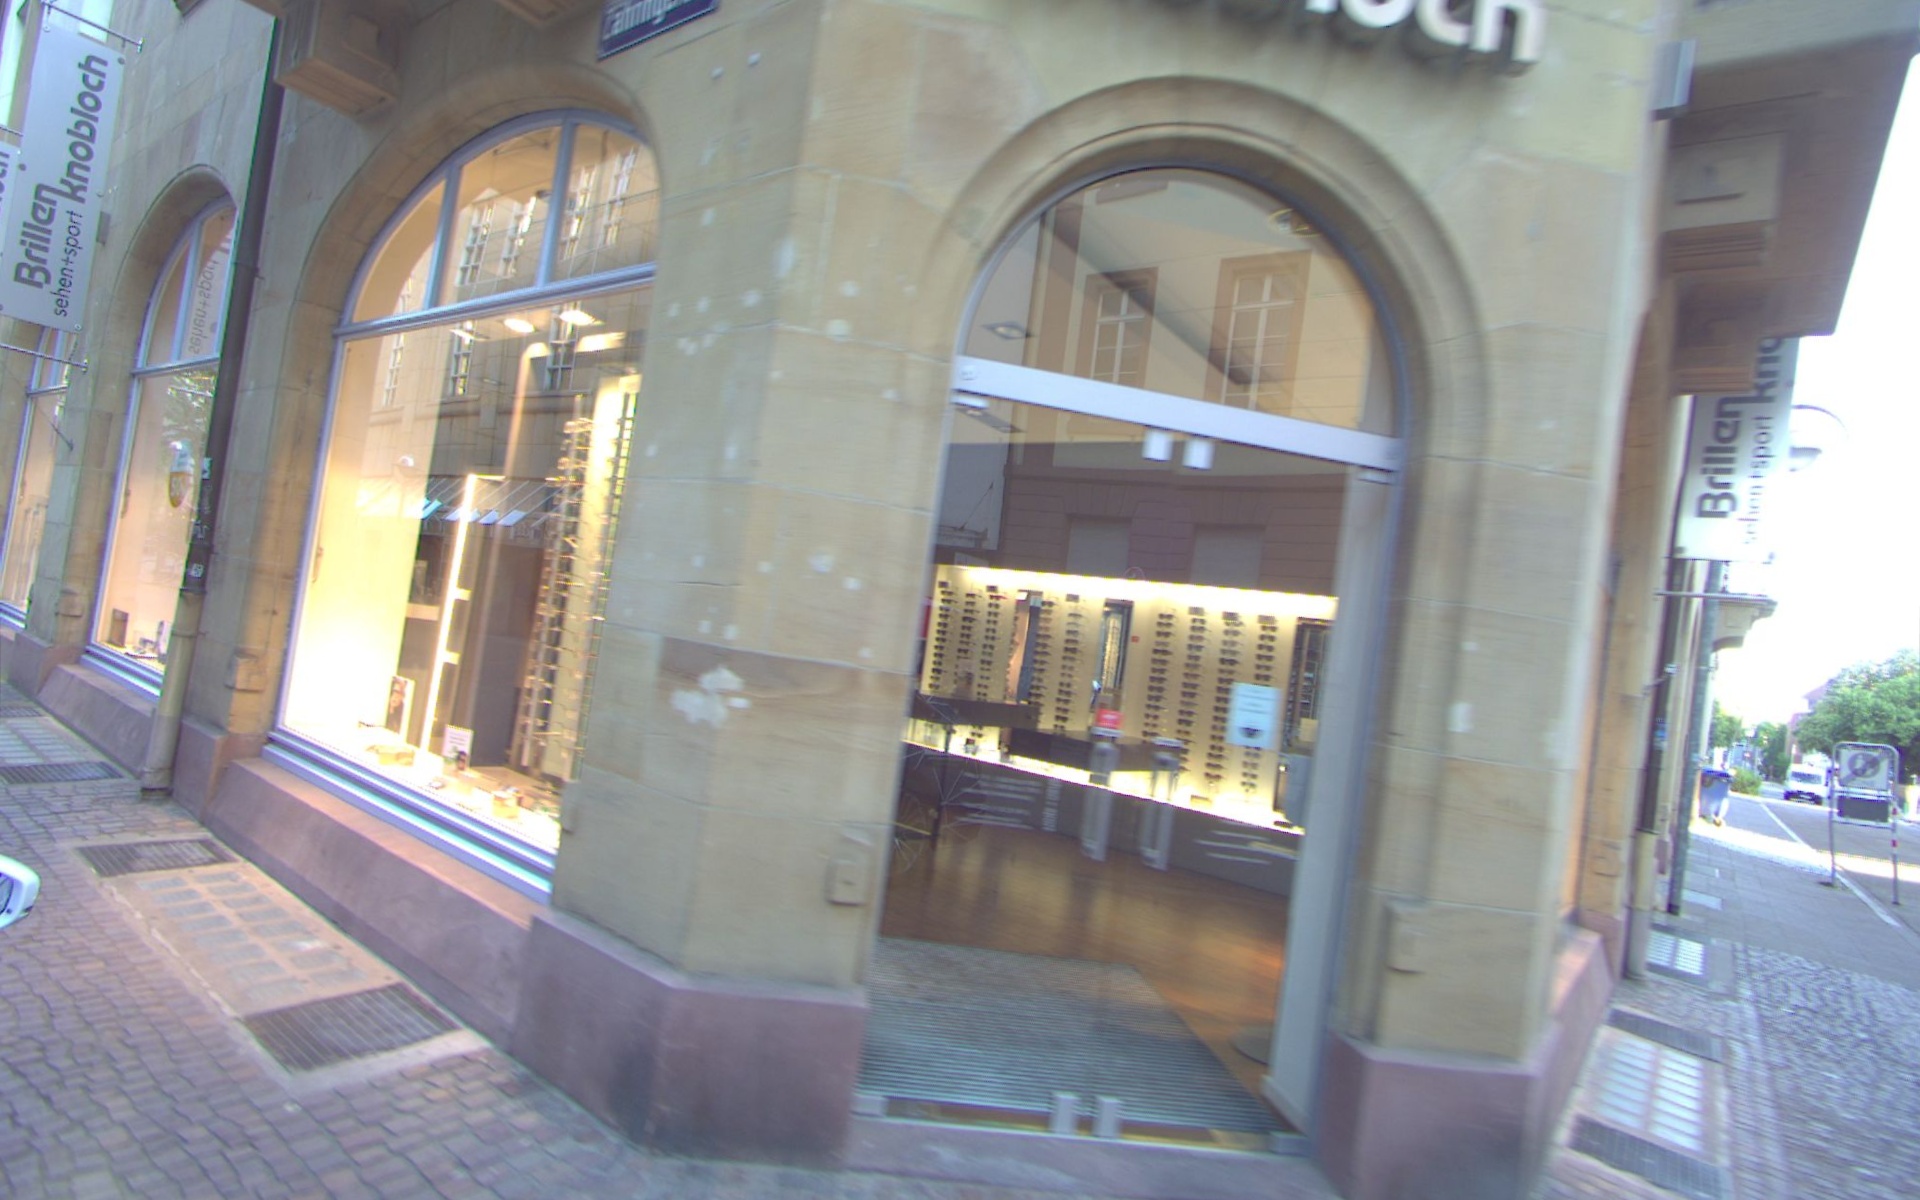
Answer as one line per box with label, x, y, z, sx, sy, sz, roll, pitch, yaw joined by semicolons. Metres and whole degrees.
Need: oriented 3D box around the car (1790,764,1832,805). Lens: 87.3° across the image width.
car;57.239;12.377;67.643;1.914;2.330;3.986;6;-3;42
